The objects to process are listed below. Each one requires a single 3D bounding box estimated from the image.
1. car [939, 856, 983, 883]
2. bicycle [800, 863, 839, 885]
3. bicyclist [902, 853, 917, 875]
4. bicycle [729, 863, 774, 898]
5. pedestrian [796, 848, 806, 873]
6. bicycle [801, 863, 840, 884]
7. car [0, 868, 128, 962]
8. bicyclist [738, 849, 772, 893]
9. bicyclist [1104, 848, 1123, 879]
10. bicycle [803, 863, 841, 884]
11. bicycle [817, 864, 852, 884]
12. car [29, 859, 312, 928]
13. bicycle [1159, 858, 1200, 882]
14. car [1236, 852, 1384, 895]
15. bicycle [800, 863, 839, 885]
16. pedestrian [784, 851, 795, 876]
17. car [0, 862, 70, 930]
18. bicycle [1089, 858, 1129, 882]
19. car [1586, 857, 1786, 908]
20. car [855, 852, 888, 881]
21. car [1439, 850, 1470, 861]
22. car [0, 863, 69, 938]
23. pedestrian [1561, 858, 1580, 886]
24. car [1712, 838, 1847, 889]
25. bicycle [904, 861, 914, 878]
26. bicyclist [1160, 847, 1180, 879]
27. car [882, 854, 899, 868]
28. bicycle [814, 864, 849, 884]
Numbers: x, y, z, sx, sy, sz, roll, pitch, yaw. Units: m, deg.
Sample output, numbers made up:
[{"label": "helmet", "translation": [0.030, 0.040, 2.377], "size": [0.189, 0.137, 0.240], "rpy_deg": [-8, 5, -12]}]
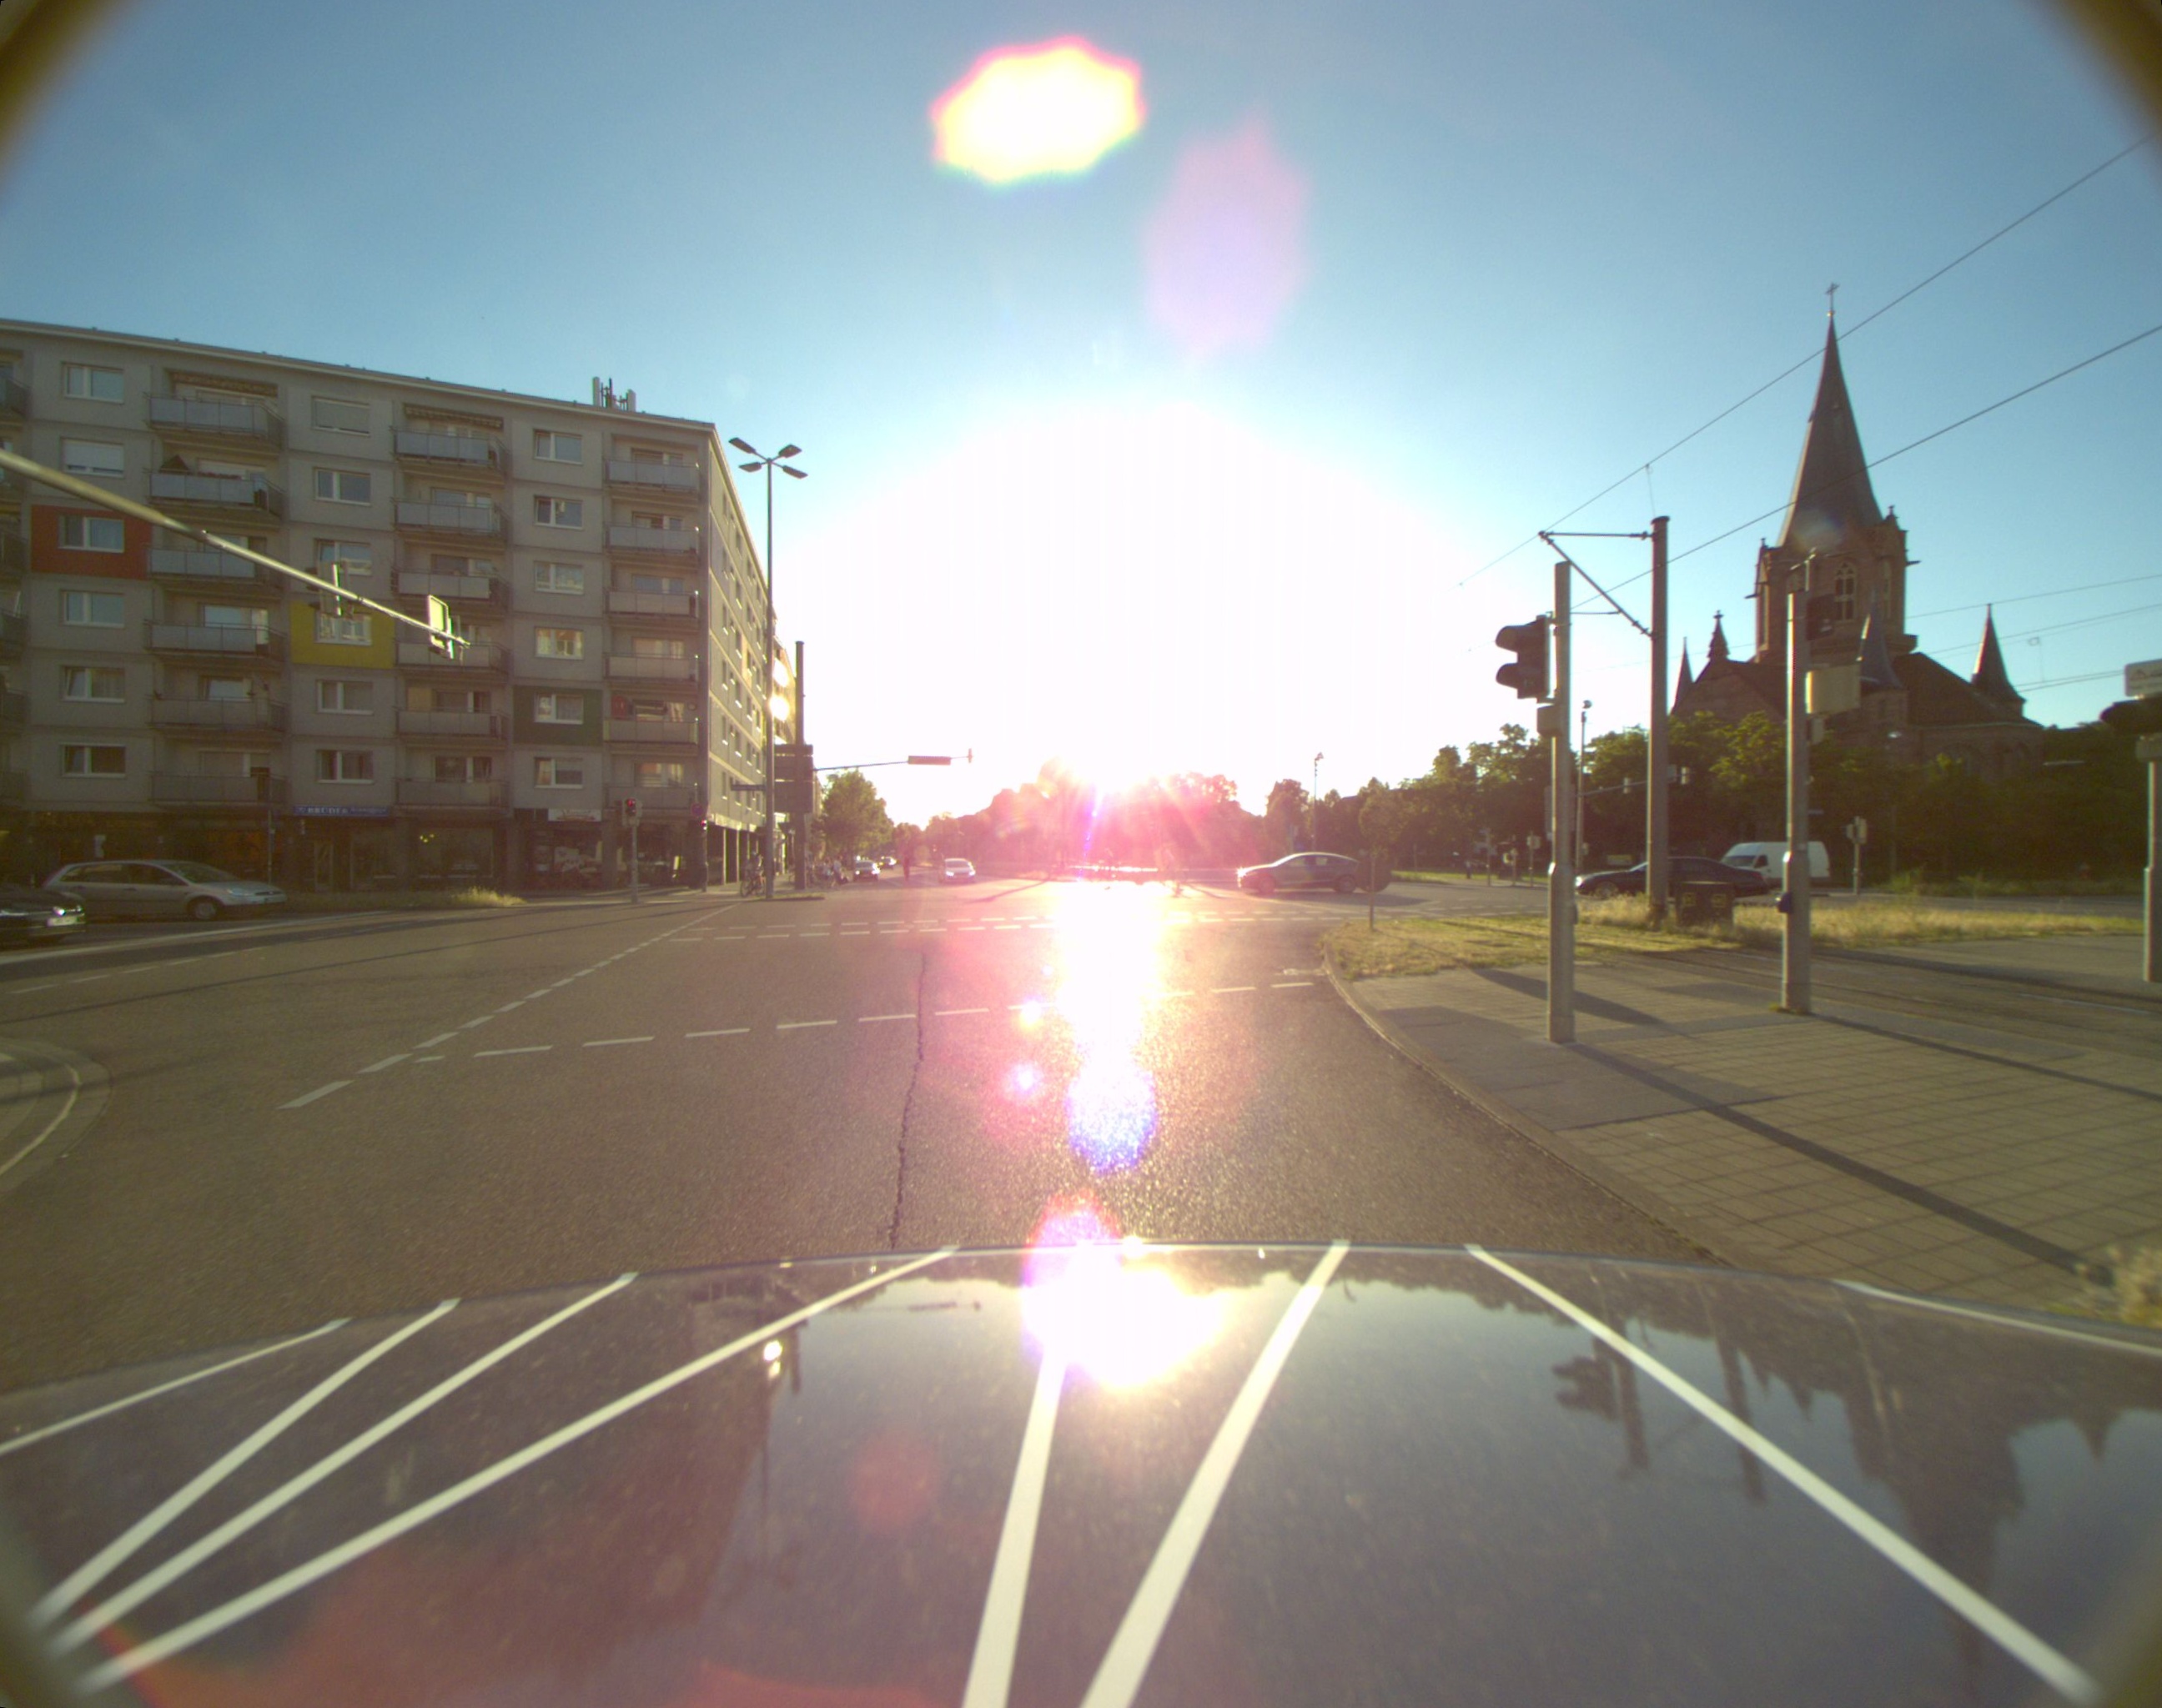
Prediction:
[{"label": "car", "translation": [-7.224, 0.892, 45.447], "size": [1.958, 1.484, 3.953], "rpy_deg": [-1, 0, -18]}, {"label": "bicycle", "translation": [-14.220, 1.082, 41.409], "size": [1.958, 1.113, 0.458], "rpy_deg": [-1, 0, -14]}, {"label": "bicyclist", "translation": [-12.210, 0.711, 54.059], "size": [0.997, 1.529, 0.922], "rpy_deg": [-1, 0, -15]}, {"label": "bicycle", "translation": [-11.881, 0.945, 27.487], "size": [0.490, 1.175, 1.973], "rpy_deg": [-1, 0, 9]}, {"label": "pedestrian", "translation": [-23.229, 0.536, 62.985], "size": [0.656, 2.002, 0.751], "rpy_deg": [-2, 0, -15]}, {"label": "bicycle", "translation": [-14.347, 1.090, 41.926], "size": [1.958, 1.113, 0.458], "rpy_deg": [-1, 0, -14]}, {"label": "car", "translation": [-19.591, 1.051, 12.671], "size": [4.192, 1.418, 1.928], "rpy_deg": [-1, 2, -16]}, {"label": "bicyclist", "translation": [-11.851, 0.604, 27.643], "size": [0.822, 1.559, 0.734], "rpy_deg": [-1, 0, 11]}, {"label": "bicyclist", "translation": [1.650, 0.500, 38.885], "size": [0.734, 1.559, 0.822], "rpy_deg": [-1, 0, -12]}, {"label": "bicycle", "translation": [-14.452, 1.091, 42.460], "size": [1.958, 1.113, 0.458], "rpy_deg": [-1, 0, -14]}, {"label": "bicycle", "translation": [-15.062, 1.219, 46.435], "size": [1.958, 1.113, 0.458], "rpy_deg": [-1, 0, -14]}, {"label": "car", "translation": [-21.548, 0.880, 18.184], "size": [4.013, 1.460, 1.918], "rpy_deg": [-1, 0, -10]}, {"label": "bicycle", "translation": [4.933, 0.790, 37.935], "size": [1.972, 1.175, 0.490], "rpy_deg": [0, 0, -12]}, {"label": "car", "translation": [8.384, 0.683, 28.220], "size": [5.035, 1.428, 1.880], "rpy_deg": [1, 1, 9]}, {"label": "bicycle", "translation": [-14.066, 1.070, 40.912], "size": [1.958, 1.113, 0.458], "rpy_deg": [-1, 0, -14]}, {"label": "pedestrian", "translation": [-23.863, 0.751, 62.256], "size": [0.718, 2.002, 0.645], "rpy_deg": [-1, 1, -15]}, {"label": "car", "translation": [-26.101, 0.936, 16.930], "size": [4.184, 1.513, 1.657], "rpy_deg": [0, 0, -13]}, {"label": "bicycle", "translation": [1.447, 0.828, 38.867], "size": [1.972, 1.175, 0.490], "rpy_deg": [-1, 0, -12]}, {"label": "car", "translation": [19.715, 0.867, 25.082], "size": [5.012, 1.499, 1.728], "rpy_deg": [0, 1, 35]}, {"label": "car", "translation": [-15.350, 0.902, 55.507], "size": [2.002, 2.002, 3.993], "rpy_deg": [-1, 0, -20]}, {"label": "car", "translation": [60.852, 0.260, 123.789], "size": [2.004, 1.811, 4.120], "rpy_deg": [-1, 0, -43]}, {"label": "car", "translation": [-23.213, 0.948, 14.611], "size": [4.243, 1.460, 1.998], "rpy_deg": [-1, 0, -10]}, {"label": "pedestrian", "translation": [29.550, 1.054, 45.860], "size": [0.663, 1.672, 0.657], "rpy_deg": [0, 0, -14]}, {"label": "car", "translation": [40.515, 0.527, 44.063], "size": [7.206, 2.861, 2.306], "rpy_deg": [0, 0, -15]}, {"label": "bicycle", "translation": [-12.258, 1.116, 54.147], "size": [0.576, 1.193, 2.203], "rpy_deg": [-1, 0, -16]}, {"label": "bicyclist", "translation": [4.408, 0.422, 37.812], "size": [0.734, 1.559, 0.822], "rpy_deg": [-1, 0, -11]}, {"label": "car", "translation": [-24.615, 0.850, 98.309], "size": [2.001, 1.739, 3.995], "rpy_deg": [-1, 0, -14]}, {"label": "bicycle", "translation": [-14.916, 1.183, 45.449], "size": [1.958, 1.113, 0.458], "rpy_deg": [-1, 0, -14]}]
